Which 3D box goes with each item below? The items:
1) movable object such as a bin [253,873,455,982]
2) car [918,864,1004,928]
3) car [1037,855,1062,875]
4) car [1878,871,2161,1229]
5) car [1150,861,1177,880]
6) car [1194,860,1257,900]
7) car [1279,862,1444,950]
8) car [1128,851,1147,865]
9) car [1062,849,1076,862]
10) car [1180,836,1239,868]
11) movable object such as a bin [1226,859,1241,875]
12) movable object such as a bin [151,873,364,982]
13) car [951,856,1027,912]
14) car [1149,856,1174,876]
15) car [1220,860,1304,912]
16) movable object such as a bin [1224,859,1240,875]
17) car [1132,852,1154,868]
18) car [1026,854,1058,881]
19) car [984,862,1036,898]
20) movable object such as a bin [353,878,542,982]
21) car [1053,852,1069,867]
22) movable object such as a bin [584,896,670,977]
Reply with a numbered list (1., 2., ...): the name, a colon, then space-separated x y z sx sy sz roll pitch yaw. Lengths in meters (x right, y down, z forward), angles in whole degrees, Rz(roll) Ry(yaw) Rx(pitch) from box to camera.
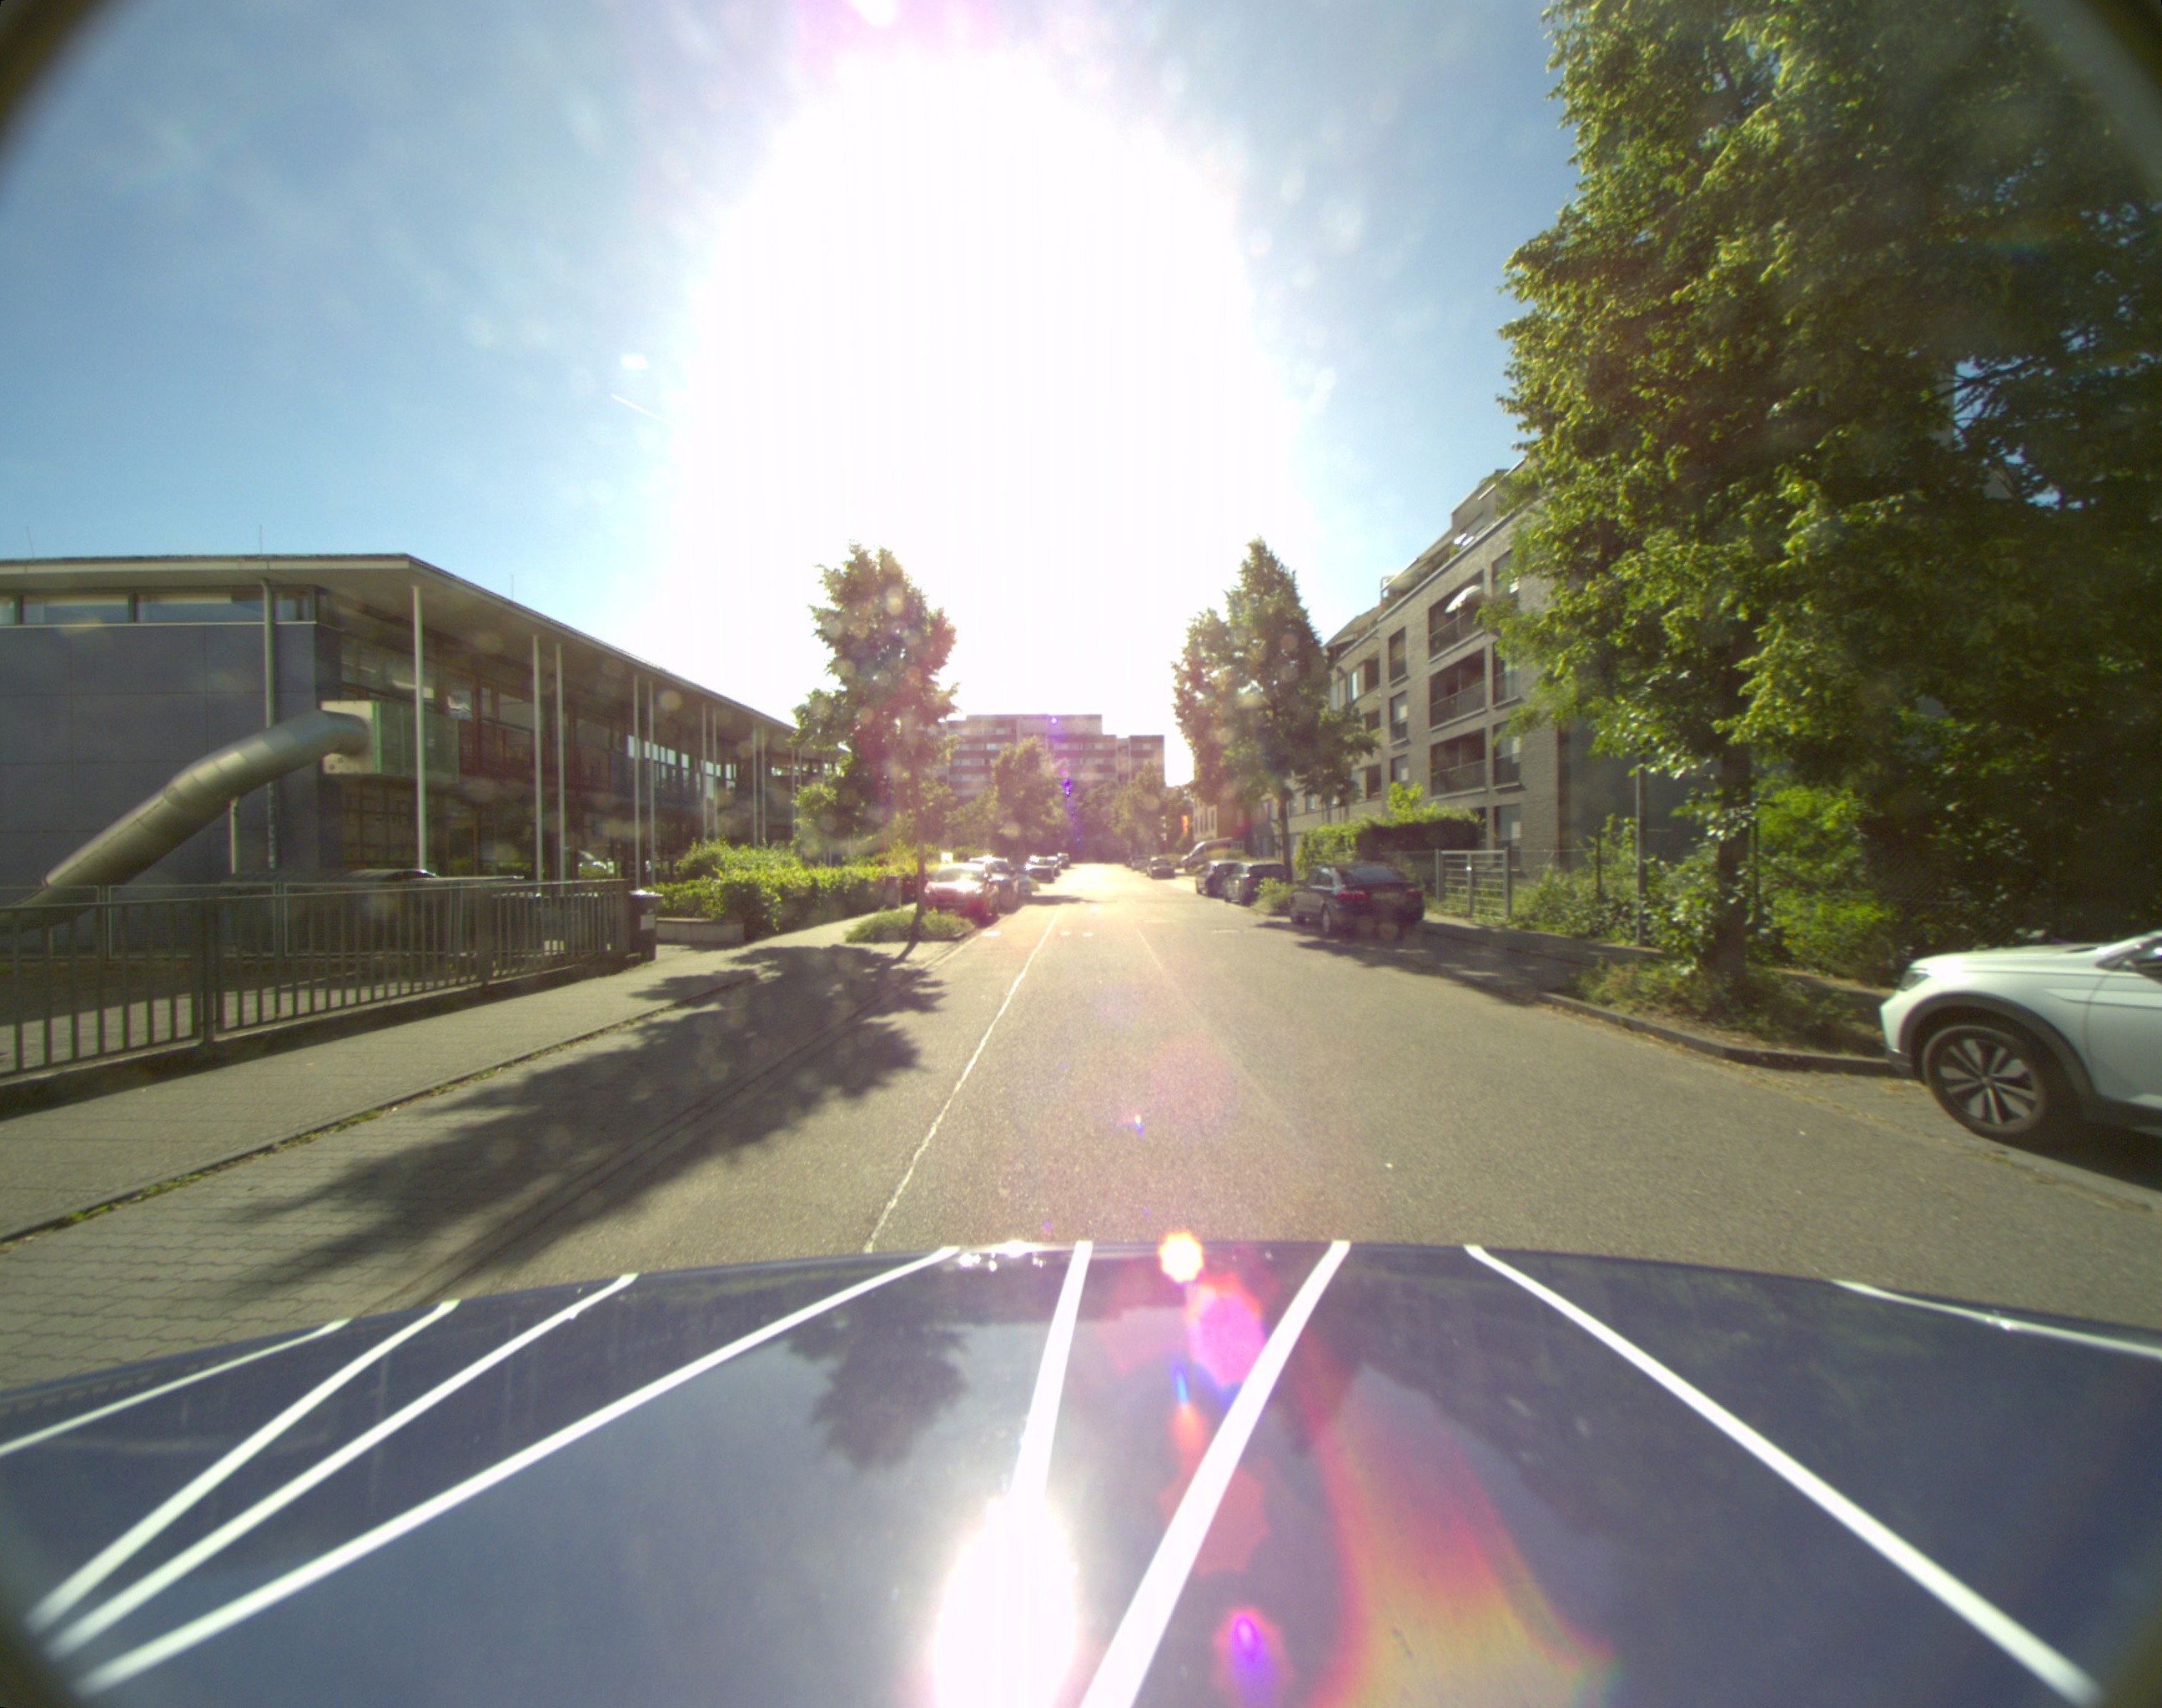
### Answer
1. movable object such as a bin: -10.627 1.033 11.219 1.369 1.440 1.631 -1 0 1
2. car: -3.099 1.050 20.274 1.679 1.495 3.846 0 0 0
3. car: -2.531 0.877 62.588 1.823 1.458 3.841 3 2 0
4. car: 5.618 0.874 2.468 1.845 1.465 4.002 -3 0 1
5. car: 5.957 1.164 55.304 1.631 1.240 3.563 -3 0 1
6. car: 5.942 1.032 31.731 1.845 1.465 4.099 -3 0 1
7. car: 5.657 0.963 15.959 1.845 1.465 4.359 -3 0 1
8. car: 6.605 0.472 89.534 1.795 1.509 3.889 -2 0 -2
9. car: -1.483 0.168 96.377 1.644 1.458 3.702 3 2 0
10. car: 12.071 -0.192 71.584 5.153 2.885 2.013 -1 1 -3
11. movable object such as a bin: 10.596 0.912 52.722 0.862 1.031 0.677 -4 1 -2
12. movable object such as a bin: -12.026 1.027 11.195 1.333 1.440 1.631 -1 0 1
13. car: -2.998 0.946 25.725 1.905 1.673 4.411 1 0 1
14. car: 6.441 0.954 60.798 1.631 1.515 3.562 0 0 0
15. car: 5.965 1.013 25.565 1.845 1.465 4.027 -3 0 1
16. movable object such as a bin: 10.592 0.895 53.475 0.921 1.031 0.681 -4 1 -2
17. car: 6.545 0.618 80.590 1.795 1.590 3.889 -2 0 -2
18. car: -2.613 0.867 51.198 1.823 1.638 4.488 3 0 0
19. car: -2.989 1.083 32.778 1.968 1.312 4.774 2 0 -3
20. movable object such as a bin: -9.196 1.064 11.146 1.369 1.350 1.631 -1 0 1
21. car: -2.217 0.616 85.038 1.644 1.458 3.702 3 2 0
22. movable object such as a bin: -6.633 1.180 11.139 0.633 1.064 0.979 -1 1 0
